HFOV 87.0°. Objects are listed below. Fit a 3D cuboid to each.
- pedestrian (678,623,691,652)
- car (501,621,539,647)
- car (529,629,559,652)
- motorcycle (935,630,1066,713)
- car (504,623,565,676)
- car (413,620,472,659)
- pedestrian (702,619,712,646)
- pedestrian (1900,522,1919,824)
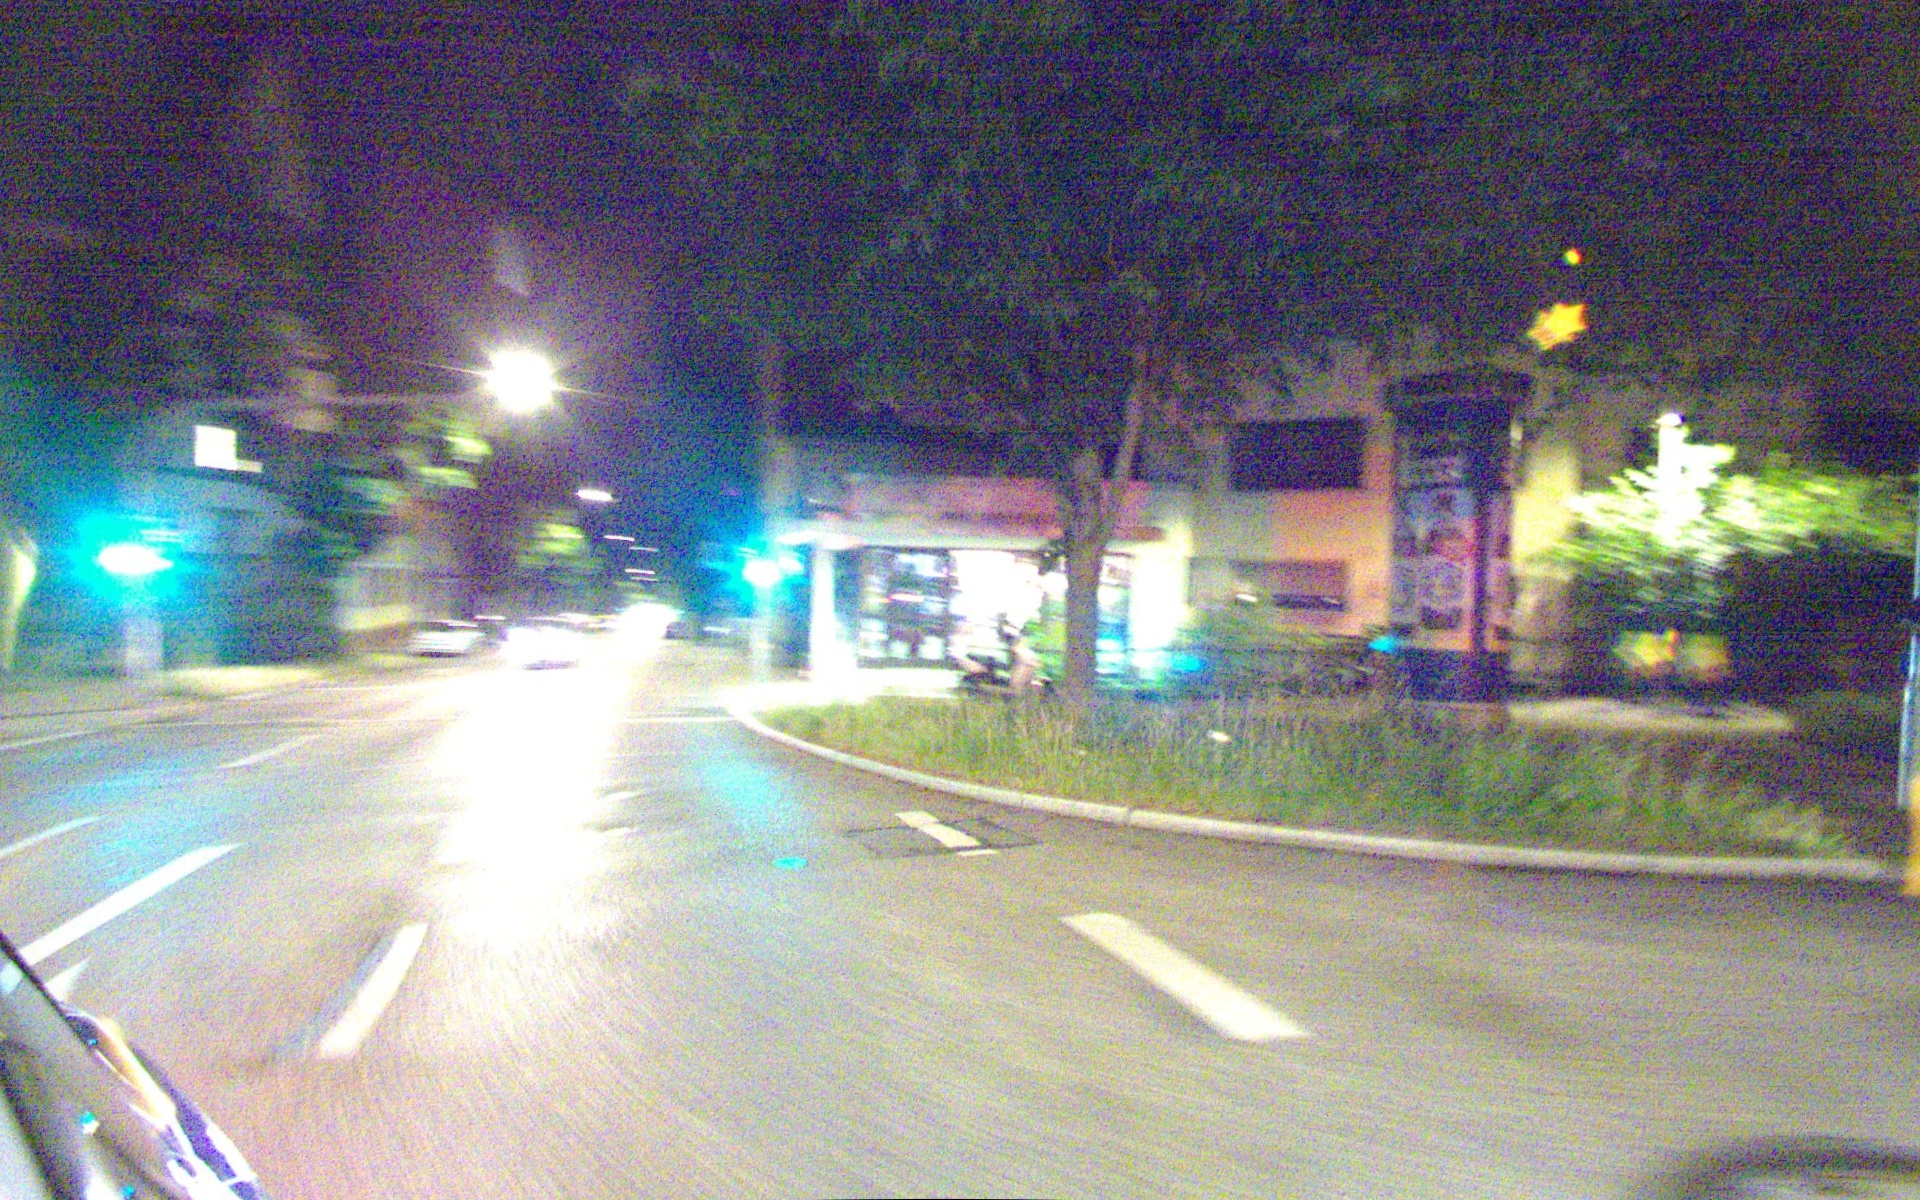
[{"bbox_3d":[-15.528,2.109,57.023,0.639,1.654,0.749,-1,-1,-14],"label":"pedestrian"},{"bbox_3d":[-26.104,2.010,60.078,1.511,1.426,3.417,2,-2,-15],"label":"car"},{"bbox_3d":[-29.979,2.877,72.978,1.511,1.604,3.566,2,-2,-15],"label":"car"},{"bbox_3d":[0.631,1.127,16.190,2.032,1.239,0.612,-2,-1,30],"label":"motorcycle"},{"bbox_3d":[-13.319,1.506,31.803,1.488,1.513,3.059,-2,0,-18],"label":"car"},{"bbox_3d":[-21.327,1.622,41.813,1.599,1.505,3.418,2,-2,-18],"label":"car"},{"bbox_3d":[-14.445,1.839,57.742,0.552,1.542,0.591,0,-2,-16],"label":"pedestrian"},{"bbox_3d":[6.058,0.428,5.838,0.683,1.806,0.523,-2,-1,2],"label":"pedestrian"}]
